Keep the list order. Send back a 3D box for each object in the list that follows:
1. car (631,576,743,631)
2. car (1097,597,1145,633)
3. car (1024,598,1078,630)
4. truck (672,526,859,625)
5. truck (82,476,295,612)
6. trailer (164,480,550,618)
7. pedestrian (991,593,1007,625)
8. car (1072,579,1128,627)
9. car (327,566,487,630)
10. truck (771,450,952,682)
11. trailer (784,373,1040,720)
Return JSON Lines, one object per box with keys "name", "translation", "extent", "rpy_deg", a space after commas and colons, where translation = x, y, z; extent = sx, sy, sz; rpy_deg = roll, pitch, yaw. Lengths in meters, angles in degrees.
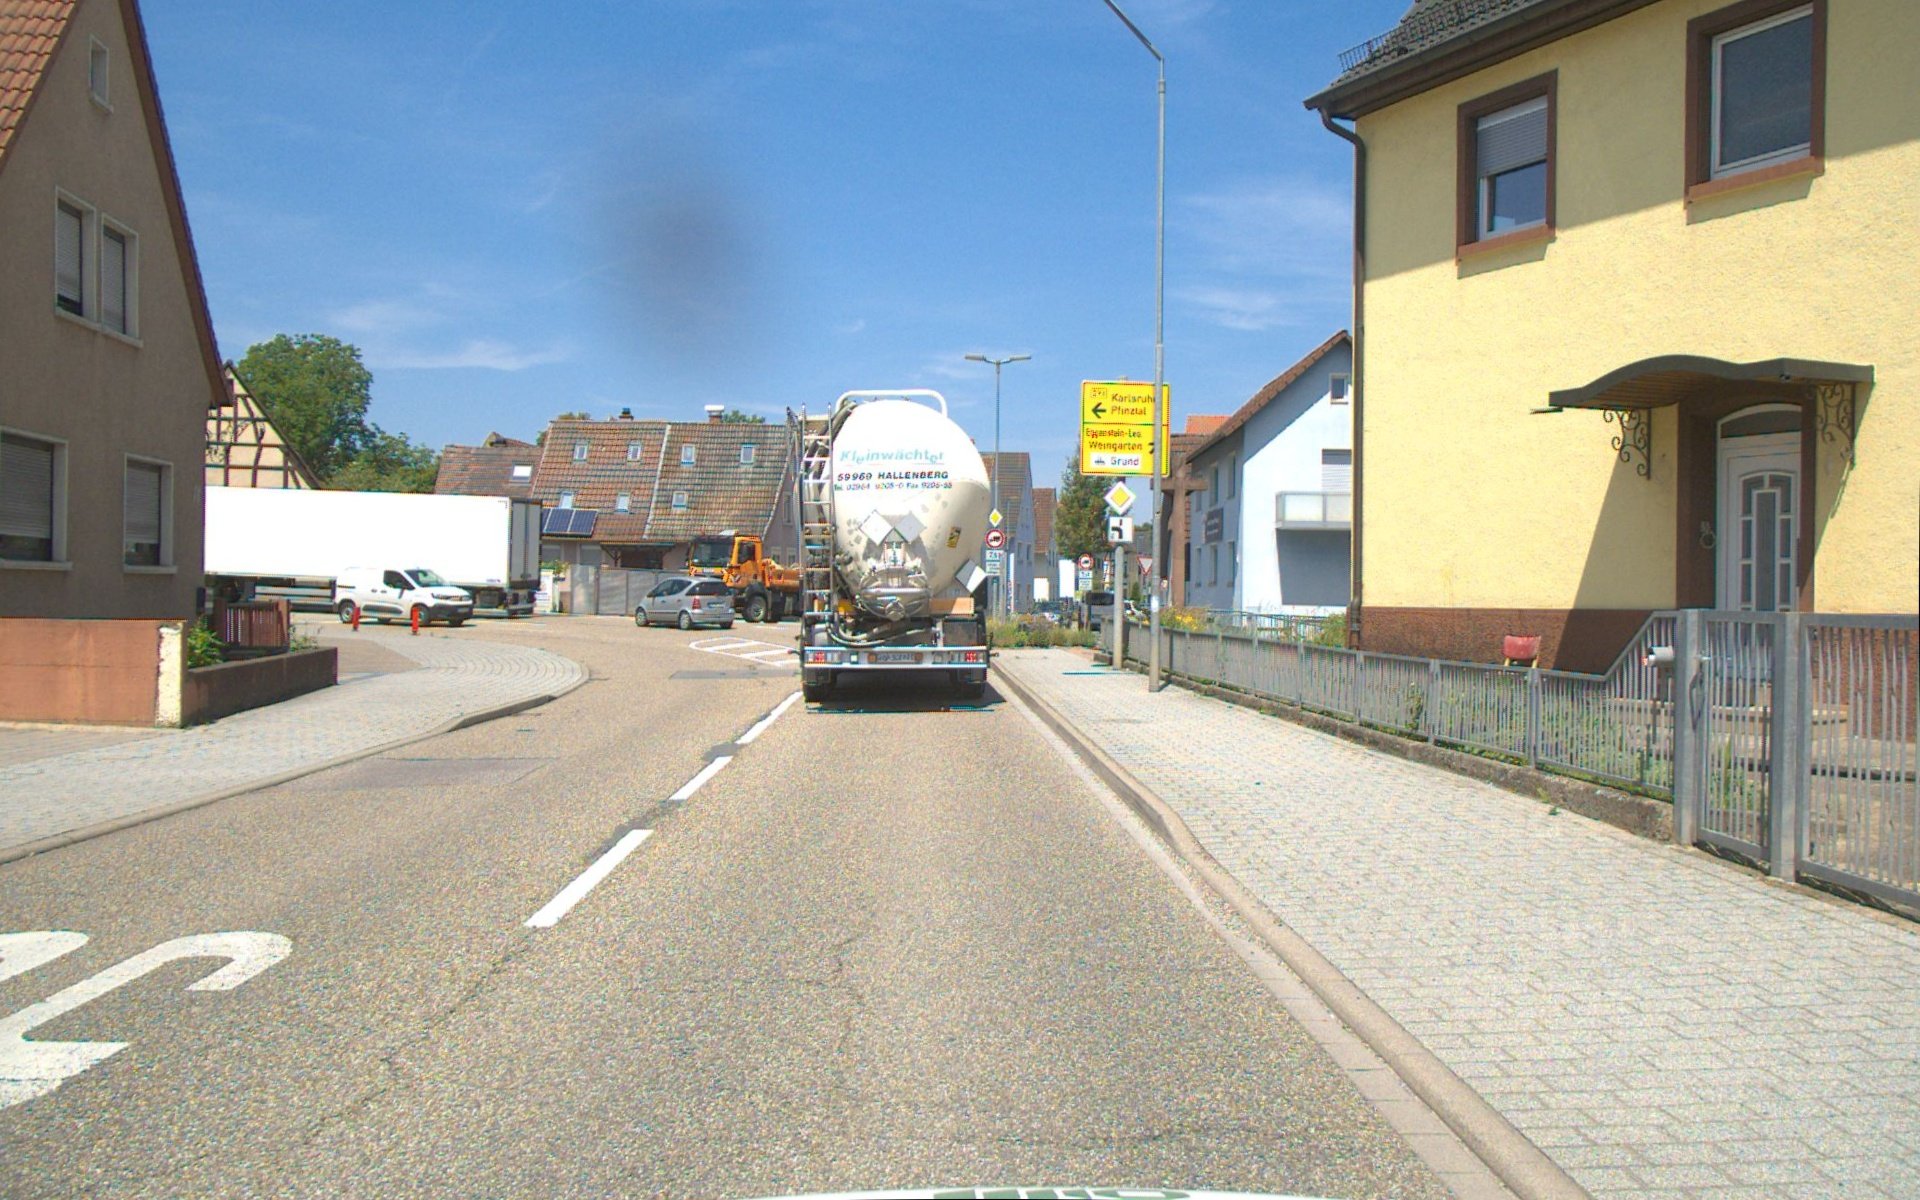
{"name": "car", "translation": [-8.366, 0.088, 50.485], "extent": [1.772, 1.613, 3.551], "rpy_deg": [1, 0, -42]}
{"name": "car", "translation": [7.738, 0.700, 79.174], "extent": [1.778, 1.663, 4.211], "rpy_deg": [1, 0, 12]}
{"name": "car", "translation": [5.322, 0.849, 96.348], "extent": [1.952, 1.704, 4.313], "rpy_deg": [2, -1, 20]}
{"name": "truck", "translation": [-7.001, -0.813, 60.838], "extent": [2.614, 3.237, 7.439], "rpy_deg": [0, -2, 33]}
{"name": "truck", "translation": [-26.500, -1.881, 56.976], "extent": [5.790, 4.478, 3.117], "rpy_deg": [1, -1, 7]}
{"name": "trailer", "translation": [-20.415, -1.708, 56.266], "extent": [12.188, 4.352, 3.145], "rpy_deg": [1, -1, 8]}
{"name": "pedestrian", "translation": [2.522, 0.572, 107.541], "extent": [0.753, 2.049, 0.977], "rpy_deg": [1, 0, 19]}
{"name": "car", "translation": [6.135, 0.163, 72.132], "extent": [1.951, 1.946, 4.327], "rpy_deg": [1, -2, 10]}
{"name": "car", "translation": [-16.922, -0.089, 50.590], "extent": [4.413, 1.816, 1.880], "rpy_deg": [2, 1, 20]}
{"name": "truck", "translation": [-2.073, -0.580, 32.373], "extent": [2.932, 4.034, 5.568], "rpy_deg": [2, -1, -8]}
{"name": "trailer", "translation": [-1.173, -0.625, 25.404], "extent": [2.896, 4.017, 11.602], "rpy_deg": [2, 0, -6]}
